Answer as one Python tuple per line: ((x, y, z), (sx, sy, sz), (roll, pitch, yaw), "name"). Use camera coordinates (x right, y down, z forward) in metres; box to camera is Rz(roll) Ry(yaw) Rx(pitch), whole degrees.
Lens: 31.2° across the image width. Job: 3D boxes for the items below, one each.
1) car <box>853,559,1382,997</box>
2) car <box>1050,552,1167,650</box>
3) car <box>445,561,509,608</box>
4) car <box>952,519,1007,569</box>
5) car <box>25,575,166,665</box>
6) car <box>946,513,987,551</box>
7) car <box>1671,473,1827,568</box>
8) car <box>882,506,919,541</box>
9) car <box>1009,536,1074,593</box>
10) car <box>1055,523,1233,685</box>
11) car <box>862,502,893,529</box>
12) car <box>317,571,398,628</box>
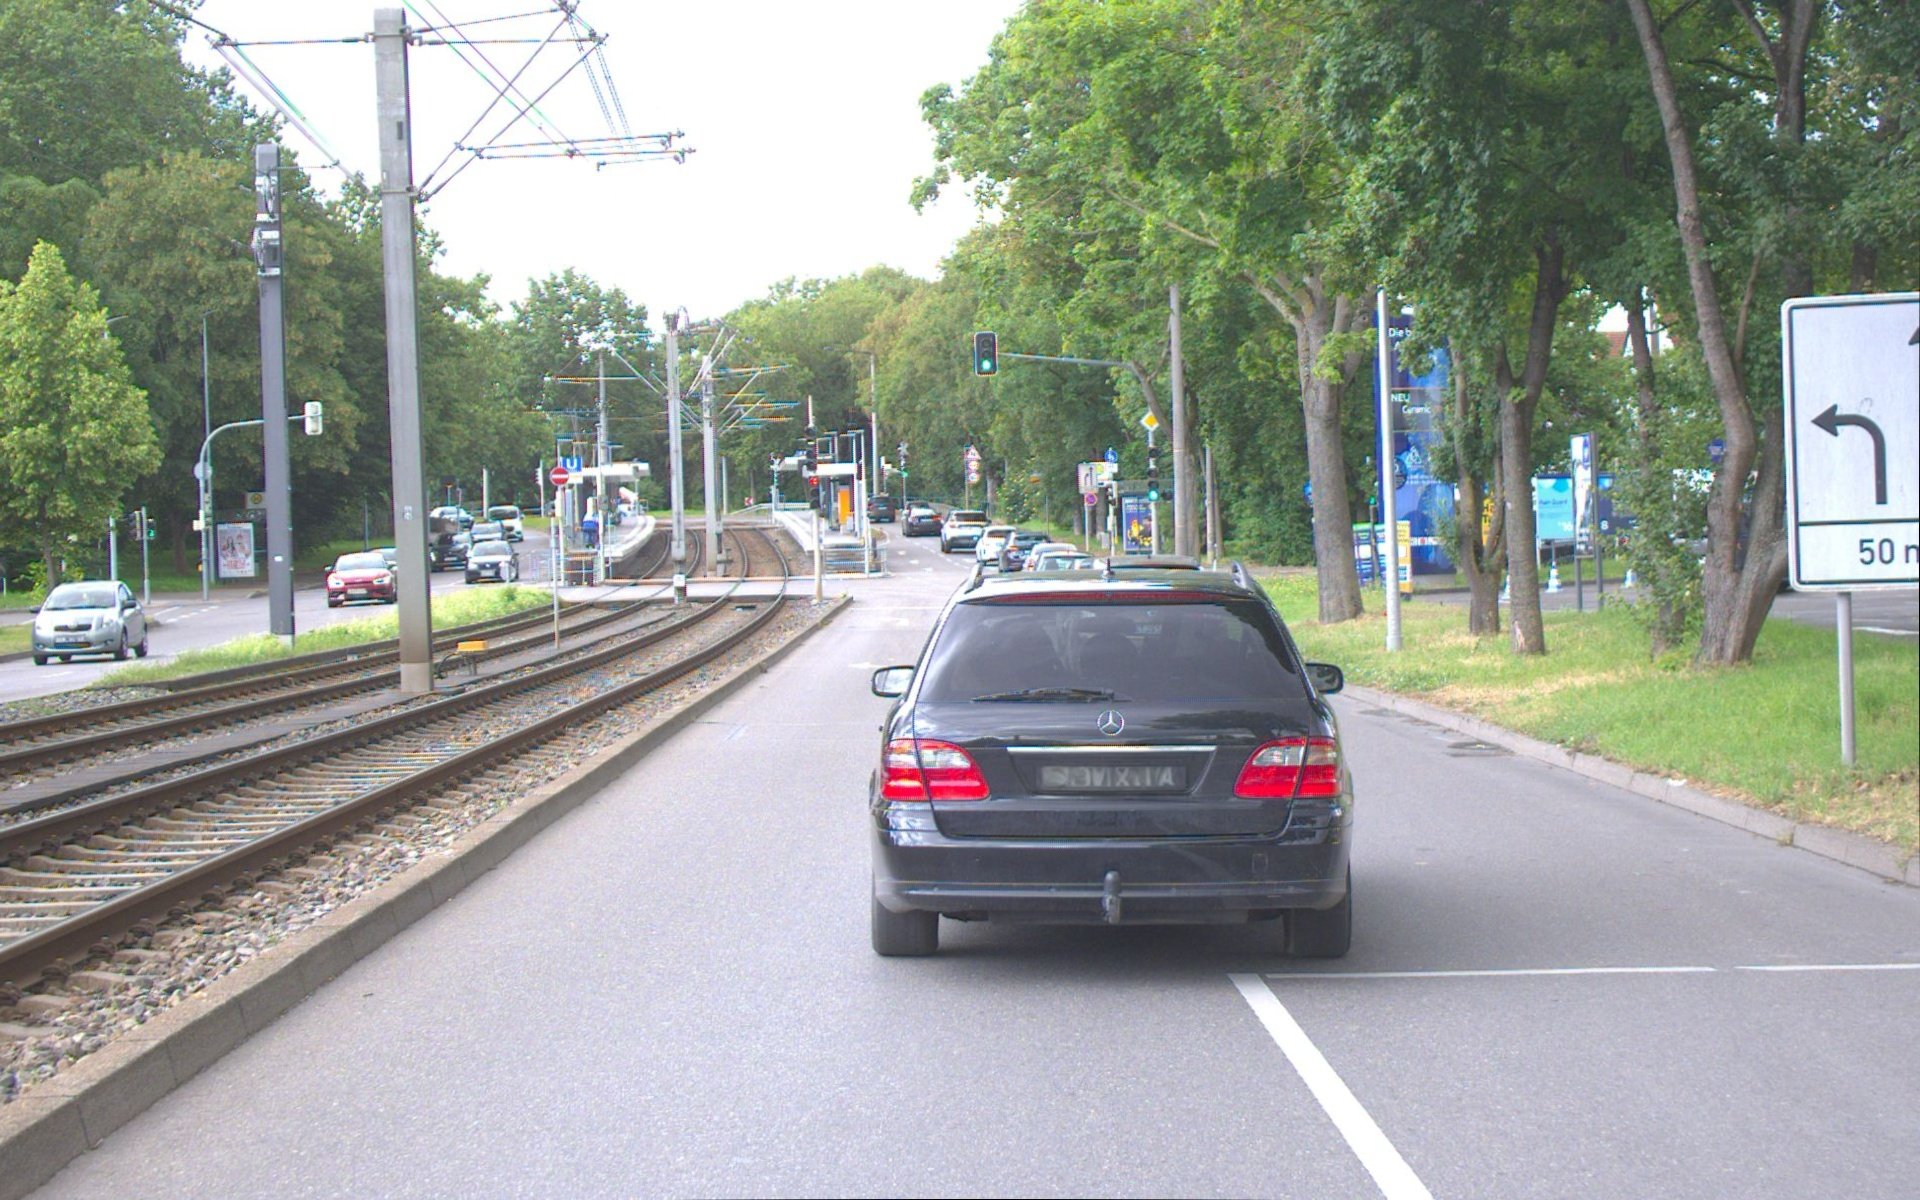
((0.521, 0.586, 13.702), (1.808, 1.469, 3.881), (0, 1, -1), "car")
((2.214, 0.004, 51.881), (1.571, 1.410, 3.354), (1, 0, -1), "car")
((-17.138, -0.547, 122.183), (1.765, 1.641, 3.771), (0, 1, 0), "car")
((0.718, -2.078, 128.362), (1.993, 1.831, 4.000), (0, 1, -1), "car")
((-16.367, 0.363, 65.263), (1.765, 1.641, 3.771), (0, 1, 0), "car")
((0.269, -2.835, 143.440), (1.649, 1.549, 3.648), (0, 1, 0), "car")
((14.997, -1.529, 65.138), (2.008, 1.677, 4.574), (-1, 1, 24), "car")
((-3.176, -4.105, 184.663), (1.993, 1.831, 4.000), (0, 1, -1), "car")
((2.632, -1.158, 111.998), (1.993, 1.831, 4.000), (0, 1, -1), "car")
((2.055, 0.030, 39.340), (1.780, 1.744, 3.718), (1, 0, -1), "car")
((-4.786, -4.901, 199.326), (1.666, 1.527, 3.771), (0, 1, -4), "car")
((-17.757, -0.024, 101.441), (1.765, 1.641, 3.771), (0, 1, 0), "car")
